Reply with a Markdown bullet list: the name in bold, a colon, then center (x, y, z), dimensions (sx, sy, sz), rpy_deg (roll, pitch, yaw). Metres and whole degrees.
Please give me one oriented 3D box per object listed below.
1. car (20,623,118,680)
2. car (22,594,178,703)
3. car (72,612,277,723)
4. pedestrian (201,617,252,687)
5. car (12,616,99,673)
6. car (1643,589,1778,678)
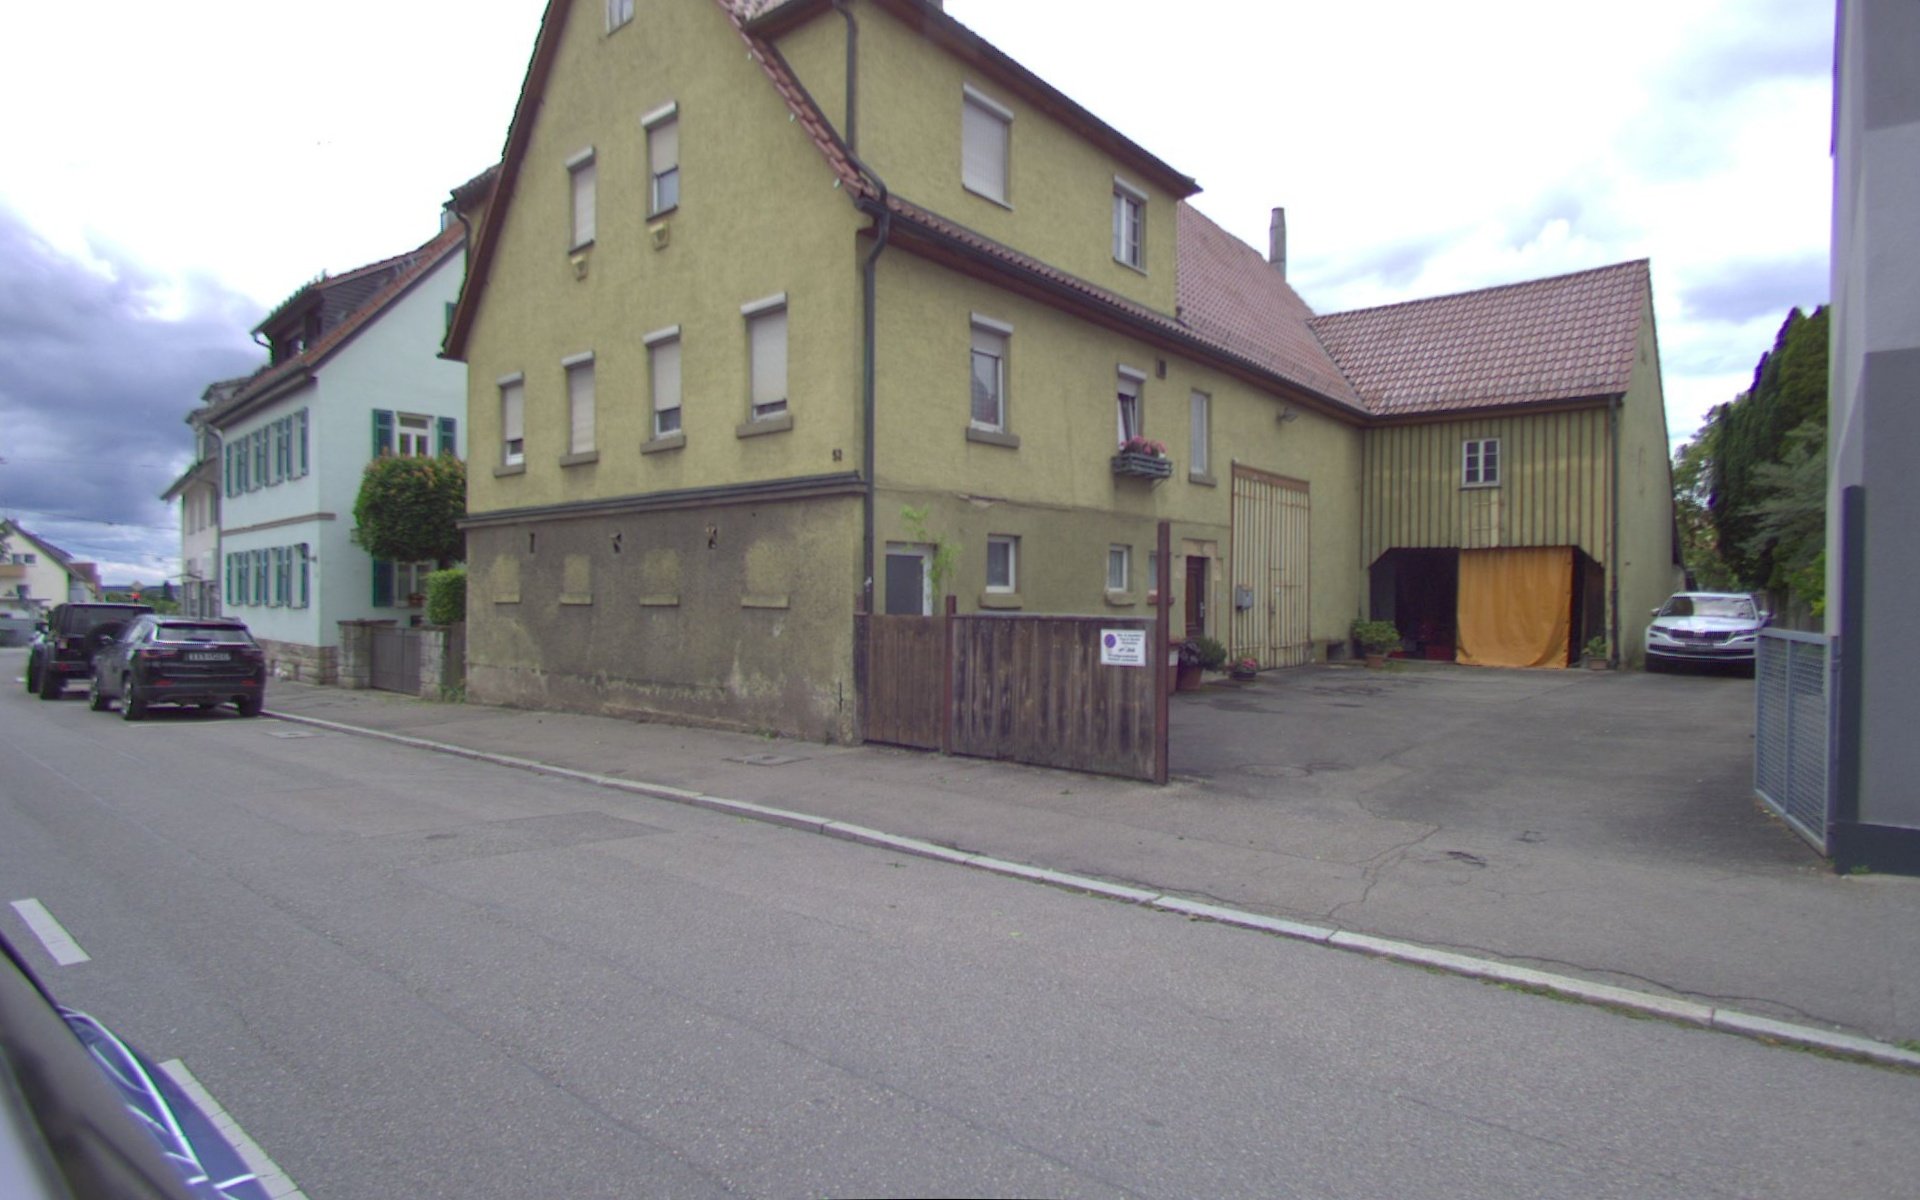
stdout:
- **car**: center (-25.117, 1.392, 28.494), dimensions (1.974, 1.447, 3.922), rpy_deg (0, -1, -43)
- **car**: center (-18.172, 0.999, 21.306), dimensions (4.671, 2.029, 1.971), rpy_deg (-2, -4, 44)
- **car**: center (-13.384, 1.112, 17.153), dimensions (4.522, 1.631, 1.877), rpy_deg (-3, -4, 41)
- **pedestrian**: center (-16.685, 1.154, 23.005), dimensions (0.796, 1.511, 0.976), rpy_deg (-2, 1, -44)
- **car**: center (-29.030, 1.374, 32.583), dimensions (1.973, 1.645, 4.865), rpy_deg (0, -1, -41)
- **car**: center (15.041, 0.576, 20.207), dimensions (1.944, 1.536, 3.904), rpy_deg (1, 2, 40)
